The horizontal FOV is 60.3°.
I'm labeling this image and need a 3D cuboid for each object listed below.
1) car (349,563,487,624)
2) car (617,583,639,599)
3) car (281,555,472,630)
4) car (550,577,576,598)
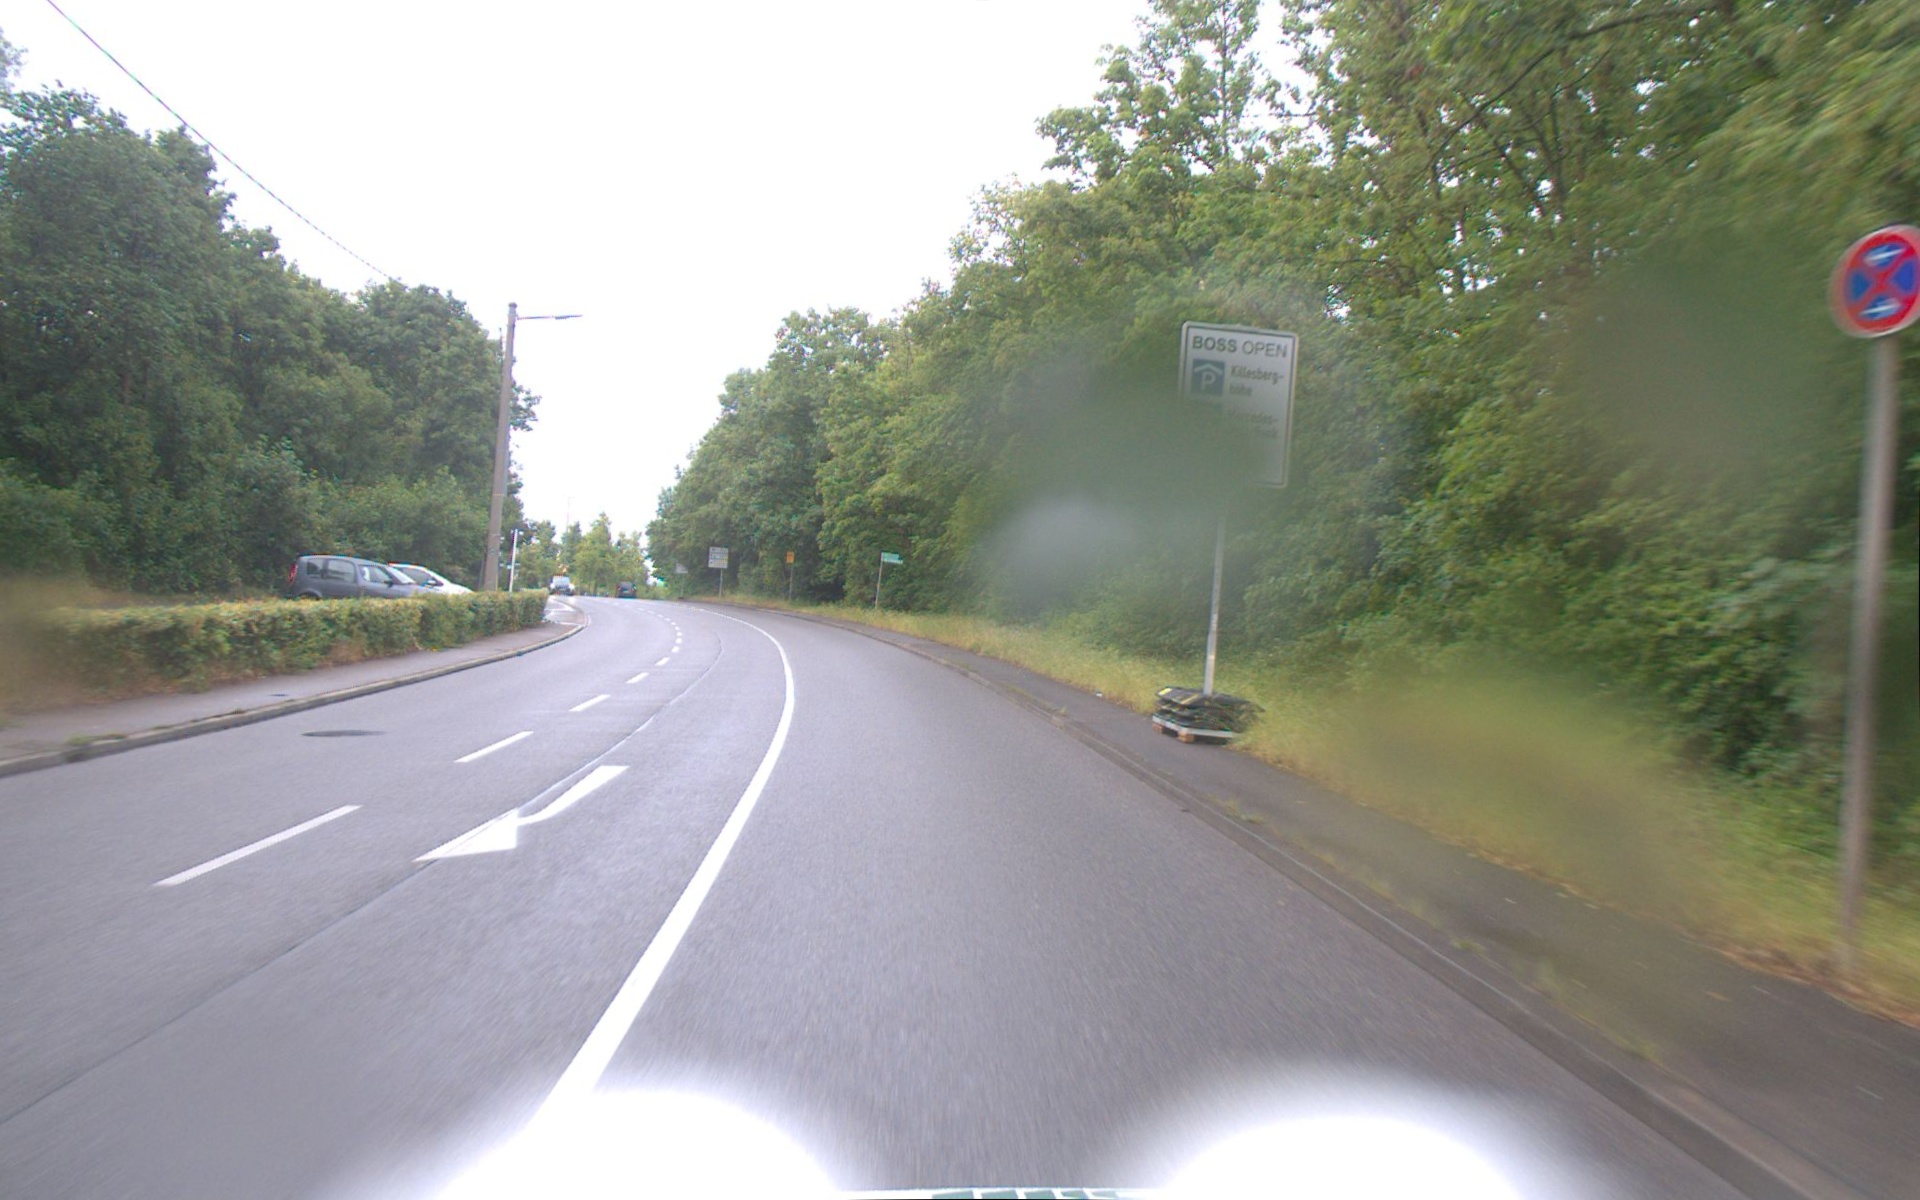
[{"bbox_3d":[-15.837,-0.182,48.502,3.580,1.619,1.847,2,0,-11],"label":"car"},{"bbox_3d":[-33.747,-0.913,168.208,1.898,1.524,4.311,2,0,-7],"label":"car"},{"bbox_3d":[-15.074,-0.197,42.906,4.207,1.738,1.998,2,0,-5],"label":"car"},{"bbox_3d":[-30.389,-0.999,126.571,1.902,1.524,4.302,2,0,-14],"label":"car"}]
